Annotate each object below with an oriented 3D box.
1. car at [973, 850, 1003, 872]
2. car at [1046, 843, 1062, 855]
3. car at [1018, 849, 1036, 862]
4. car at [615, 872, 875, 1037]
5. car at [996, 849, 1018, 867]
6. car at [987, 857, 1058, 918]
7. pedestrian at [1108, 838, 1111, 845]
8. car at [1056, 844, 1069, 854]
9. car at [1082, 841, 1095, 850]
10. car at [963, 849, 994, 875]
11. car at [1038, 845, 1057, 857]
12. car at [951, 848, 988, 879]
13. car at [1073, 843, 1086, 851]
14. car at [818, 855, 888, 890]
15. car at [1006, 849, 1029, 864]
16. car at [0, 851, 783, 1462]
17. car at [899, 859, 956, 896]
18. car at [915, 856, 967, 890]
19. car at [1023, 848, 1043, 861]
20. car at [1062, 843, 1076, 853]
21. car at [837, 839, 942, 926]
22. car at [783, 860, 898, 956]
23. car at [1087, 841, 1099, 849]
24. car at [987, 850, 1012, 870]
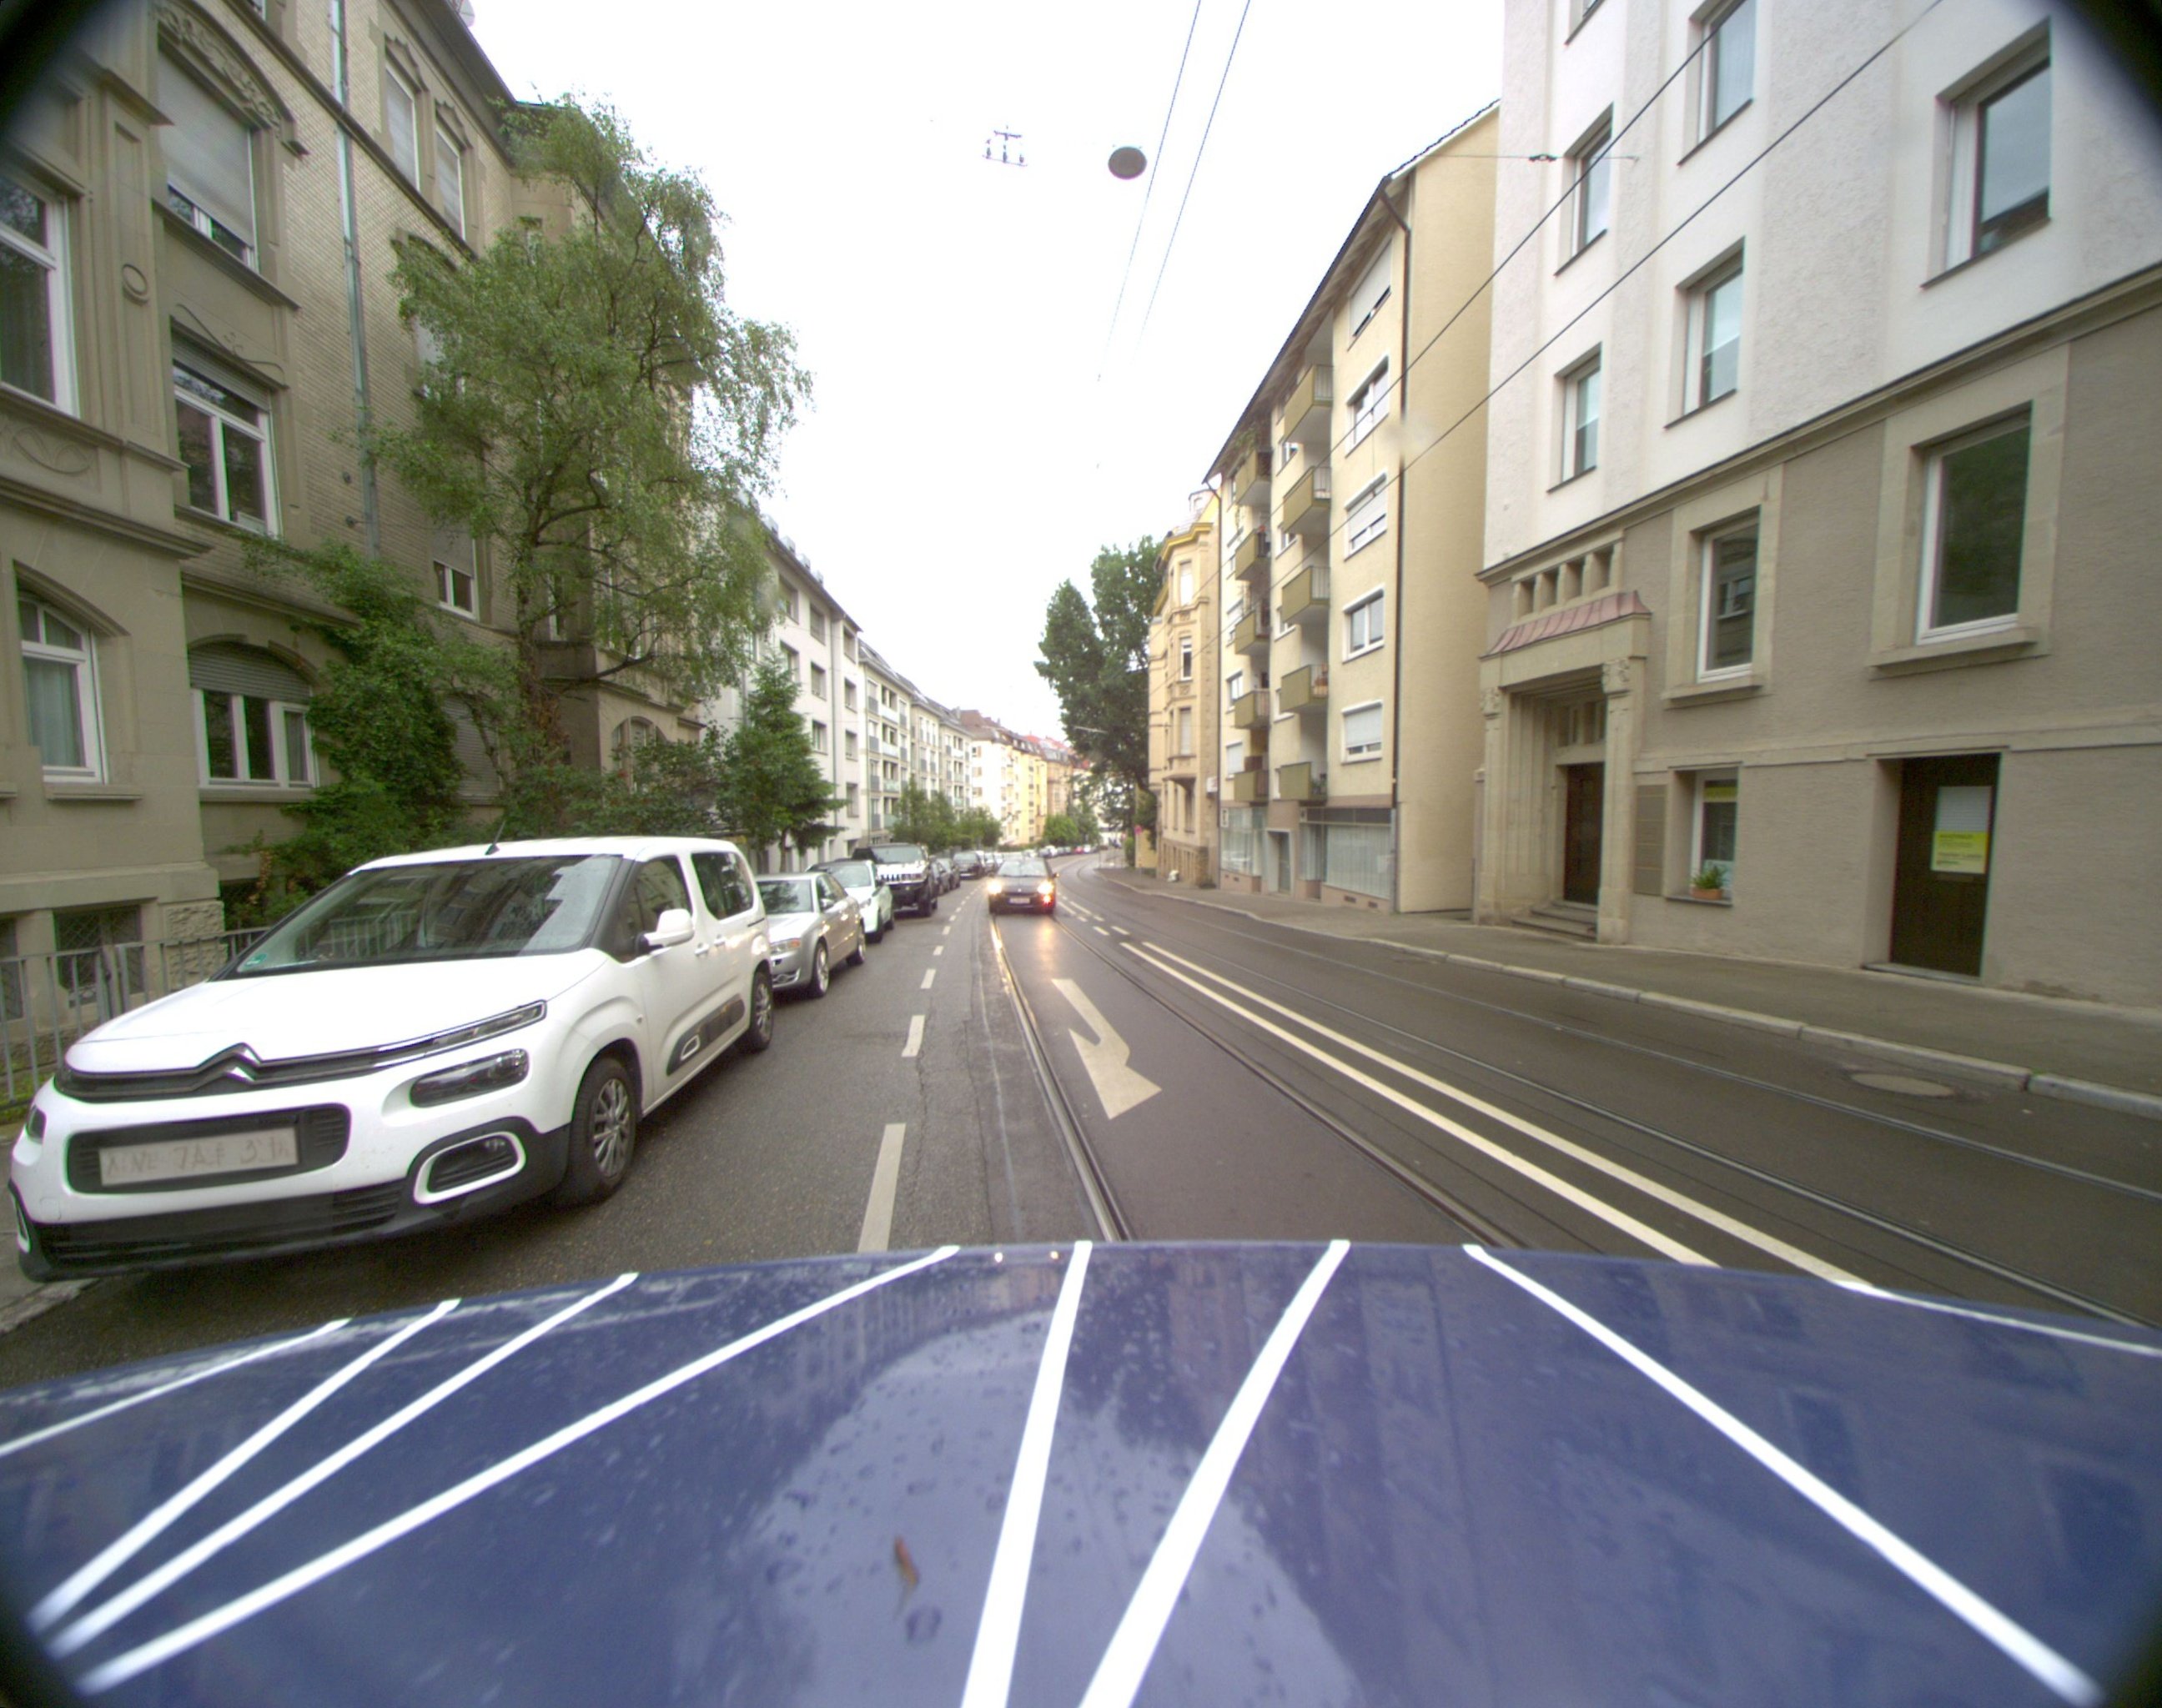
[{"bbox_3d":[-7.405,0.508,60.803,1.837,1.647,4.685,-1,1,-1],"label":"car"},{"bbox_3d":[-3.902,-0.681,109.494,1.798,1.613,3.868,-2,2,6],"label":"car"},{"bbox_3d":[-6.333,0.165,89.113,1.600,1.416,3.515,-1,1,4],"label":"car"},{"bbox_3d":[-3.931,1.049,9.788,1.754,1.392,4.475,-3,1,-7],"label":"car"},{"bbox_3d":[-7.013,0.389,71.916,1.981,1.576,4.563,-1,1,-5],"label":"car"},{"bbox_3d":[-1.534,0.834,20.947,1.739,1.445,3.999,-1,0,-2],"label":"car"},{"bbox_3d":[6.232,-2.760,165.425,0.649,1.652,0.650,0,1,4],"label":"pedestrian"},{"bbox_3d":[-2.884,-0.858,118.807,1.590,1.434,3.477,-2,2,6],"label":"car"},{"bbox_3d":[1.353,-1.538,139.905,1.612,1.434,3.690,-1,2,13],"label":"car"},{"bbox_3d":[-7.356,0.535,54.970,1.783,1.785,4.469,-1,1,-3],"label":"car"},{"bbox_3d":[-4.520,-0.462,104.523,1.797,1.444,4.104,-2,2,9],"label":"car"},{"bbox_3d":[-7.162,0.575,49.198,1.948,1.785,4.818,-2,1,-4],"label":"car"},{"bbox_3d":[-0.194,-1.228,131.121,1.556,1.360,3.126,-1,2,13],"label":"car"},{"bbox_3d":[-10.635,0.830,35.768,1.817,1.418,4.153,-3,1,2],"label":"car"},{"bbox_3d":[-6.820,0.255,81.650,1.862,1.507,4.789,-1,1,2],"label":"car"},{"bbox_3d":[-3.285,0.908,4.498,1.803,1.755,4.459,-3,1,-9],"label":"car"},{"bbox_3d":[-6.210,0.908,31.097,1.683,1.330,3.881,-2,1,-3],"label":"car"},{"bbox_3d":[-6.530,0.834,35.823,1.799,1.429,4.609,-2,1,-3],"label":"car"},{"bbox_3d":[-5.917,0.029,93.679,1.721,1.459,4.391,-1,1,6],"label":"car"},{"bbox_3d":[-1.907,-0.992,123.906,1.658,1.360,3.637,-2,2,8],"label":"car"},{"bbox_3d":[-5.108,0.658,21.017,2.135,2.002,5.346,-3,1,-8],"label":"car"},{"bbox_3d":[-4.606,0.942,15.026,1.565,1.537,3.581,-3,1,-9],"label":"car"},{"bbox_3d":[2.328,-1.700,144.573,1.612,1.434,3.690,-1,2,13],"label":"car"},{"bbox_3d":[-7.114,0.475,66.368,1.837,1.618,4.662,-1,1,-2],"label":"car"}]
